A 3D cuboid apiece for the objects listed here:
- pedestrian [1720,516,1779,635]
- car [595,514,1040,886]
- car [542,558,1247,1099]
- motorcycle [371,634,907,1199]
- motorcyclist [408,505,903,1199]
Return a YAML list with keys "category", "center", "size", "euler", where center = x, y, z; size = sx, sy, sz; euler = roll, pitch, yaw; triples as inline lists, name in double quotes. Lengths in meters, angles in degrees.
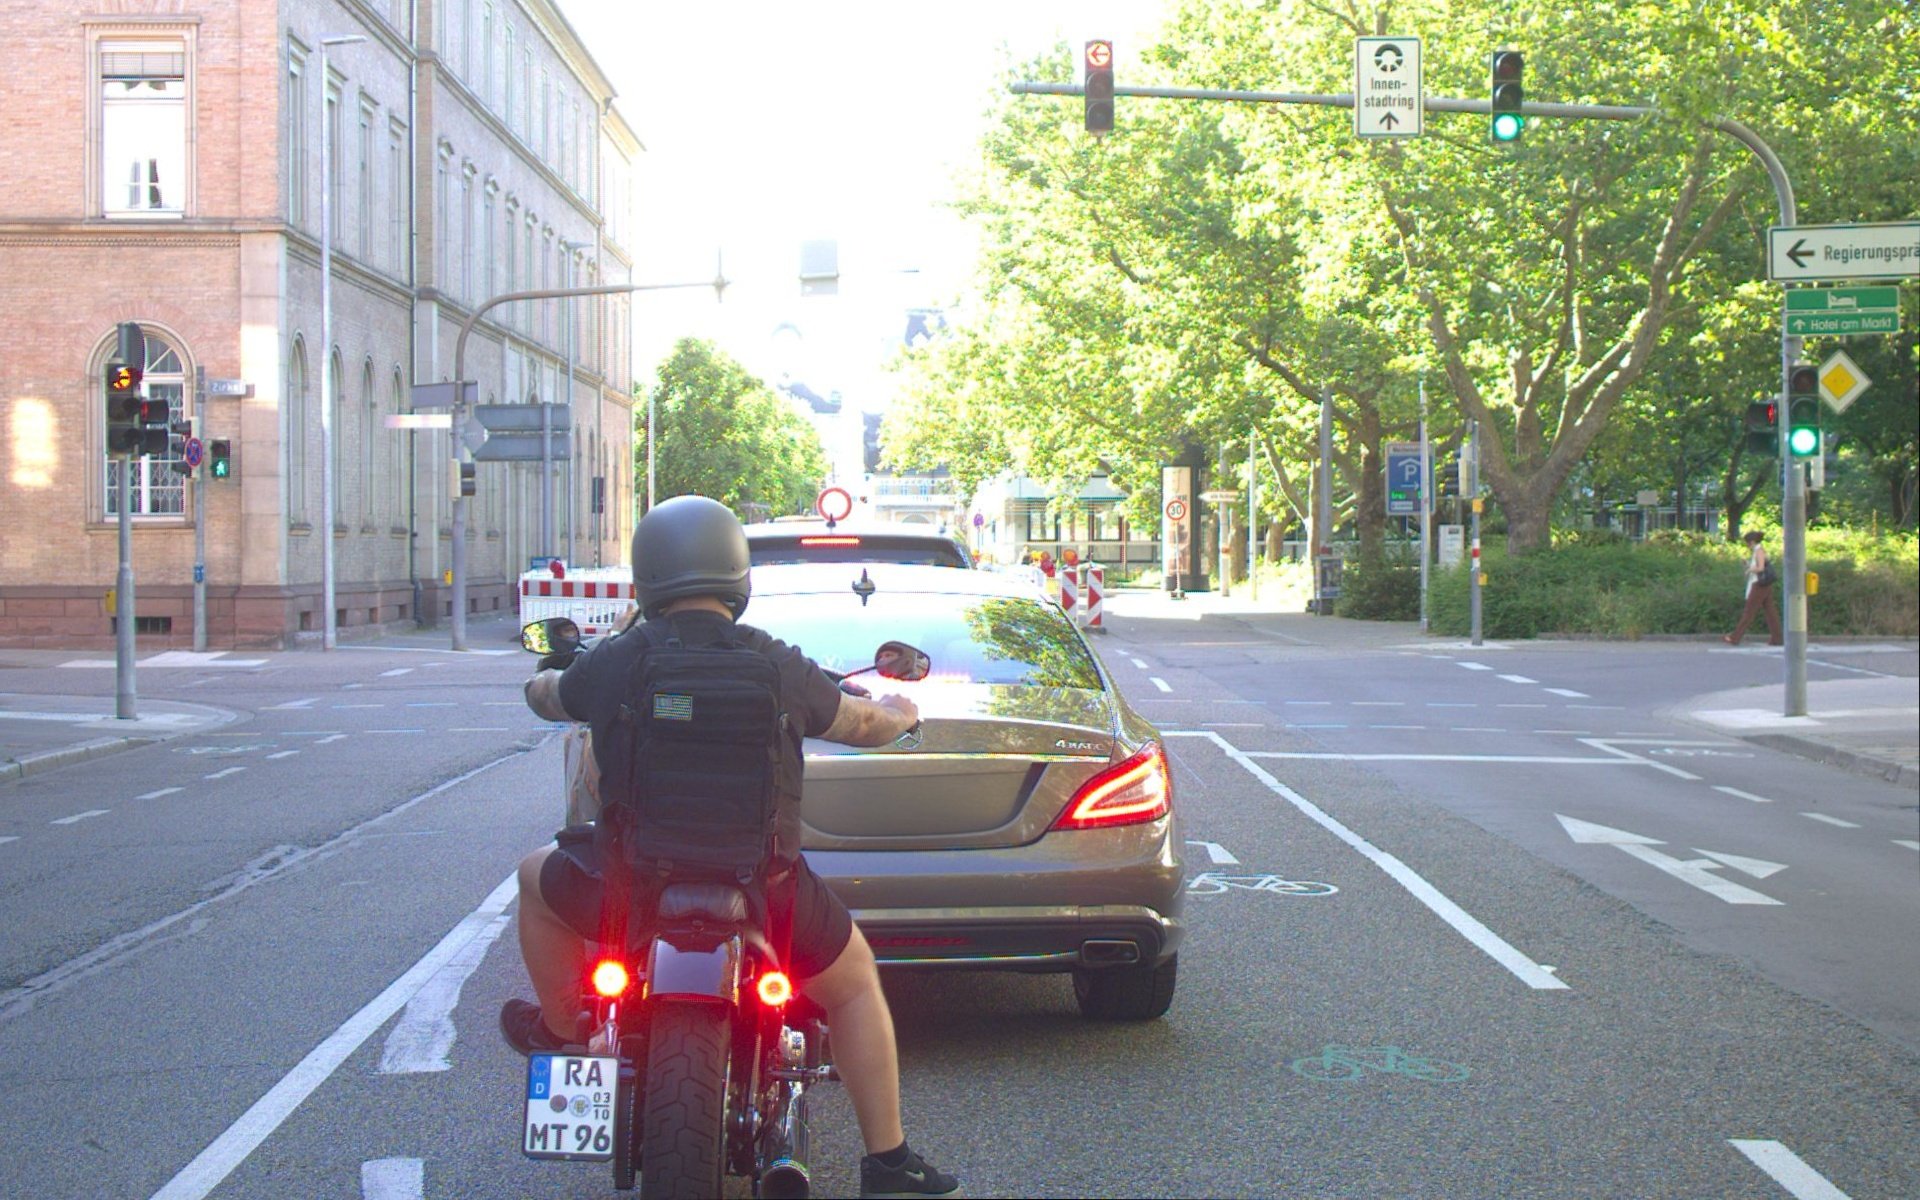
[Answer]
- category: "pedestrian"
  center: [11.796, -0.367, 51.350]
  size: [0.678, 1.766, 0.616]
  euler: [1, 0, 31]
- category: "car"
  center: [-0.667, 0.433, 17.559]
  size: [1.993, 1.660, 4.000]
  euler: [1, 1, -1]
- category: "car"
  center: [-0.433, 0.591, 11.637]
  size: [1.869, 1.439, 4.431]
  euler: [0, 1, -8]
- category: "motorcycle"
  center: [-0.613, 0.743, 7.579]
  size: [0.980, 1.271, 2.407]
  euler: [0, 1, -1]
- category: "motorcyclist"
  center: [-0.618, 0.586, 7.503]
  size: [0.980, 1.573, 1.248]
  euler: [0, 1, -1]
